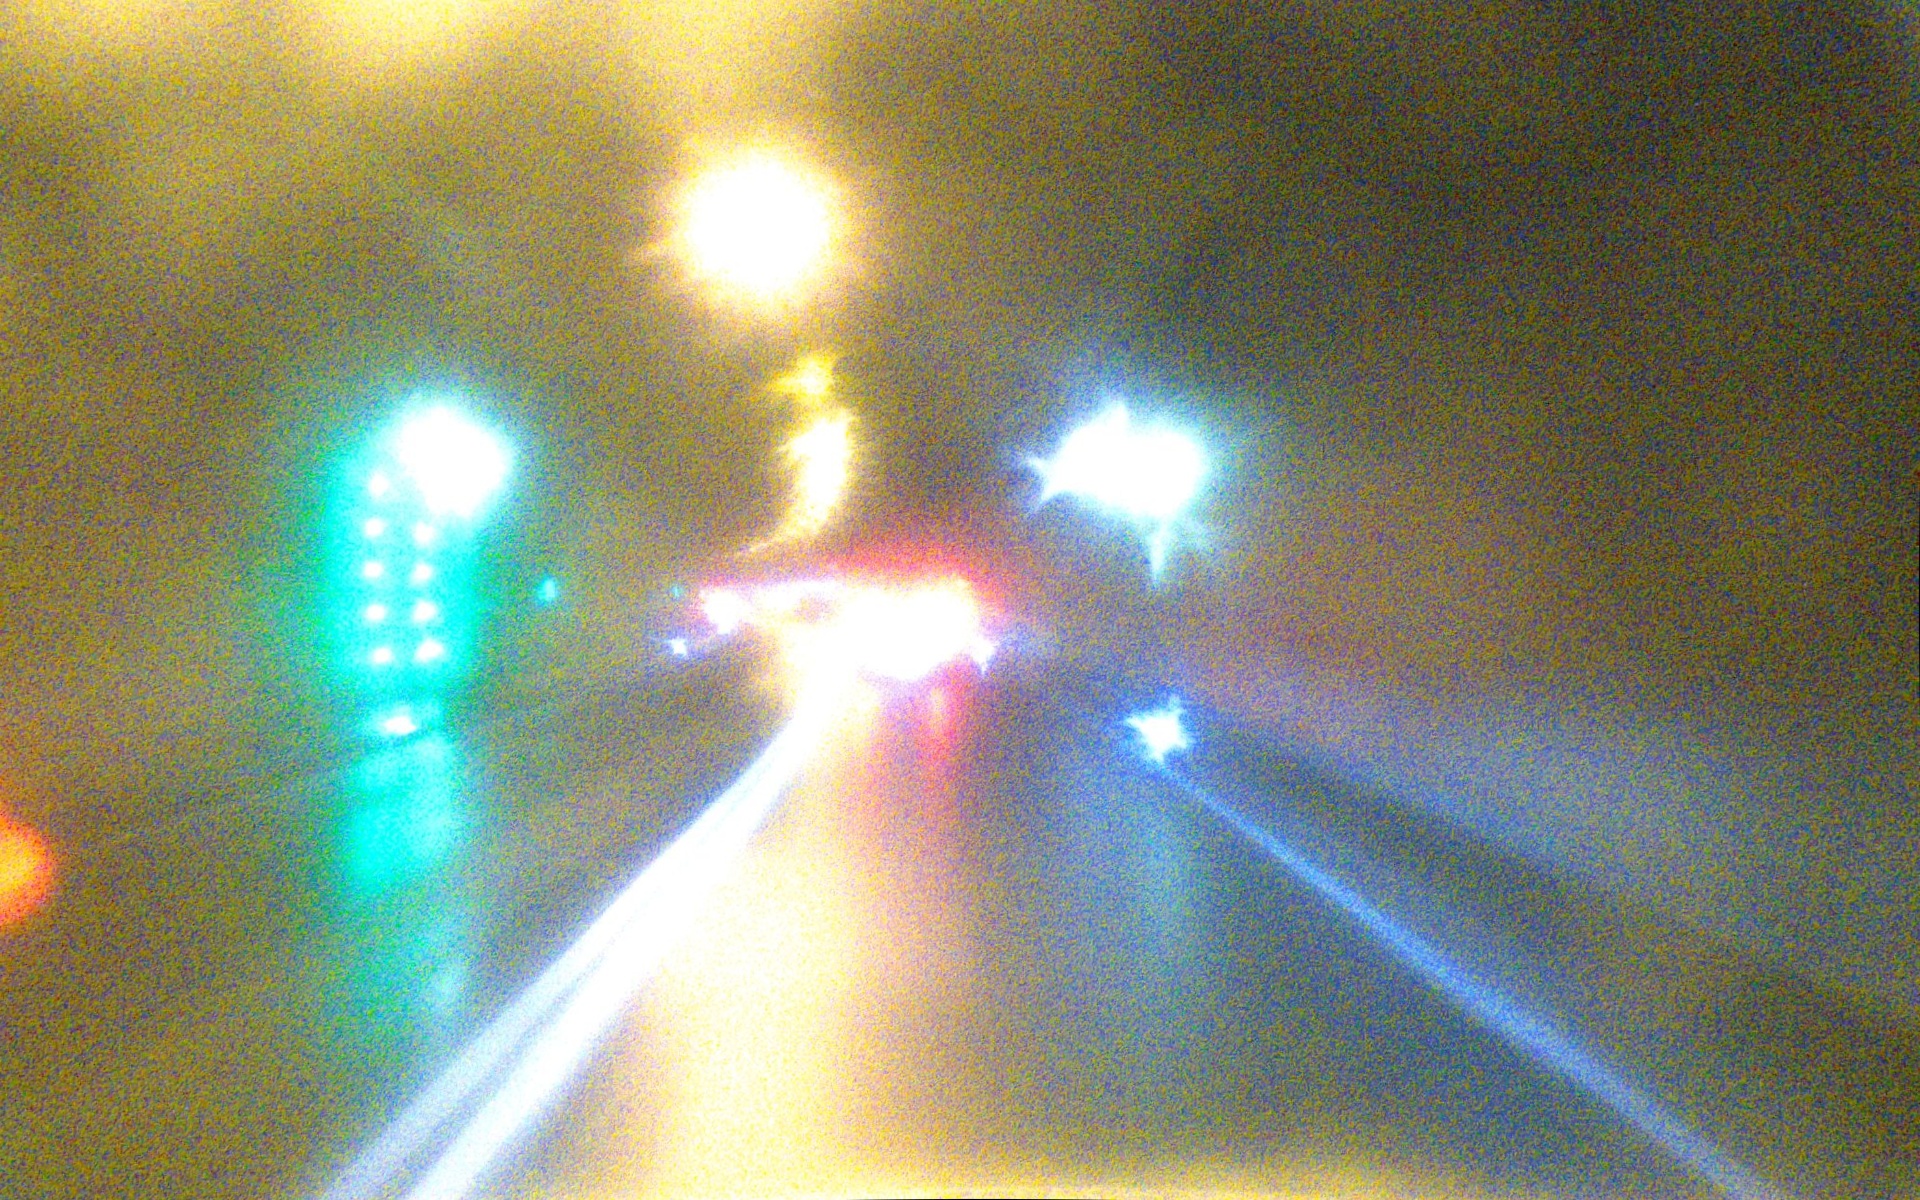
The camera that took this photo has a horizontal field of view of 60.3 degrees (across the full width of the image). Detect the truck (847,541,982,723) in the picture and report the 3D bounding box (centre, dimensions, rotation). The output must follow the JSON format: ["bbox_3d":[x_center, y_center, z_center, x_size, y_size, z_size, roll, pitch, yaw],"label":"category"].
[{"bbox_3d":[-0.913,0.555,32.695,2.217,3.063,7.412,3,0,-2],"label":"truck"}]
